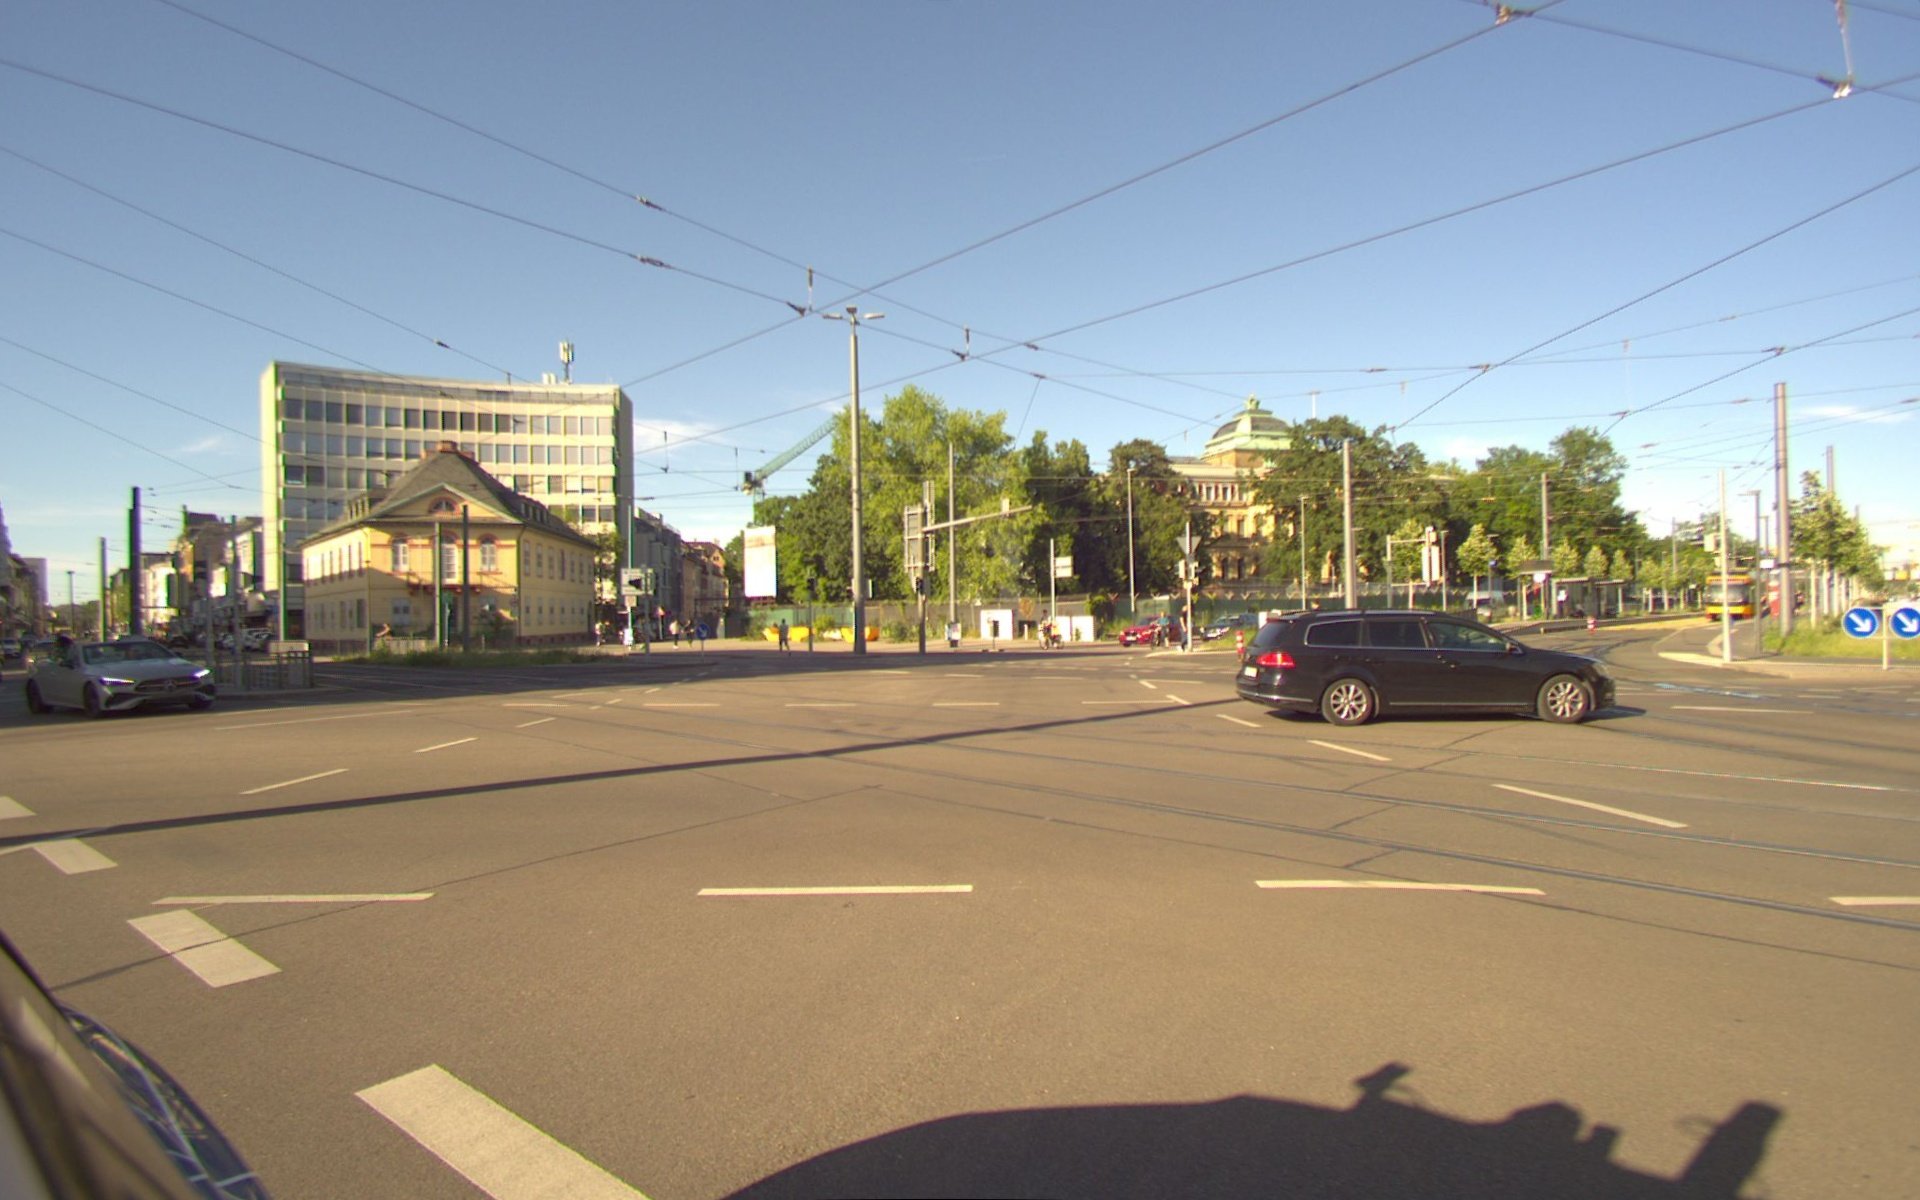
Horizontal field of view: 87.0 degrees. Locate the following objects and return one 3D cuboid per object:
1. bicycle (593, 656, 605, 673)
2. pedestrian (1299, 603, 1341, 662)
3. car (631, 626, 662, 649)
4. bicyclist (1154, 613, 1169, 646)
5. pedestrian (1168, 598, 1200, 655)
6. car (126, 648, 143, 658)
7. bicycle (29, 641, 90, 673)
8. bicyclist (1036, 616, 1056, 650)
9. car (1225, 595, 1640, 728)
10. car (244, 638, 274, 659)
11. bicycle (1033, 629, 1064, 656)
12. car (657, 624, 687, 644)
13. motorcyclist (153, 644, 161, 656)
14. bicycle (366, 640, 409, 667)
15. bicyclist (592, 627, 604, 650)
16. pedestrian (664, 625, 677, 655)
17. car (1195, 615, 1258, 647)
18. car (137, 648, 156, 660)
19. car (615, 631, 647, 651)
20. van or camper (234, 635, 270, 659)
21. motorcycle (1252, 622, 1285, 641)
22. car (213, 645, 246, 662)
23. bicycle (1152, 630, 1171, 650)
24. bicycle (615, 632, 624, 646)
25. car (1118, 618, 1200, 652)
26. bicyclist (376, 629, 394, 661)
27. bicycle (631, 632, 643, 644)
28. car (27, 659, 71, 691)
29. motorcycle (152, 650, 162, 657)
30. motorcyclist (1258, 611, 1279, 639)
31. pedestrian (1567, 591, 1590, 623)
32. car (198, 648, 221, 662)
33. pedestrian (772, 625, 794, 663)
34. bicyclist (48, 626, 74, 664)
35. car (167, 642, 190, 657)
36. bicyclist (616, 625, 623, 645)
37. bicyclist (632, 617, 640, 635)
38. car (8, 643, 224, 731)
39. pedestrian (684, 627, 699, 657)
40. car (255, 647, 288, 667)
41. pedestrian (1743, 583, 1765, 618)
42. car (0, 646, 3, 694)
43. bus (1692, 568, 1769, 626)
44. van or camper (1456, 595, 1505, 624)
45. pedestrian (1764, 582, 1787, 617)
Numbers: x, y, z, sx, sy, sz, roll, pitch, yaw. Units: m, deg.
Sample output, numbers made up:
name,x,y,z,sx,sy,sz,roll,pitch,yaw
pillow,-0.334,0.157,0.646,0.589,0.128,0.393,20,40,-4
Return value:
name,x,y,z,sx,sy,sz,roll,pitch,yaw
bicycle,-24.151,4.282,67.631,0.640,1.021,1.891,-2,0,-23
pedestrian,10.848,0.974,30.503,0.930,1.723,0.687,-2,-1,44
car,-25.656,3.071,82.965,1.864,1.683,3.871,-2,0,-8
bicyclist,8.221,1.198,41.290,0.399,1.325,0.454,-2,-1,34
pedestrian,7.871,0.931,35.529,0.713,1.948,0.801,-2,-1,-19
car,-125.840,8.081,154.279,1.755,1.521,3.865,1,-3,-42
bicycle,-37.117,2.347,41.724,0.641,1.221,1.802,-2,-1,39
bicyclist,3.923,1.501,46.042,0.610,1.504,0.607,-2,-1,44
car,5.941,0.767,13.178,4.469,1.455,1.768,-2,-1,4
car,-59.117,4.078,85.283,1.754,1.632,4.183,-3,1,-39
bicycle,4.052,1.944,46.150,0.612,1.142,1.479,-2,-1,43
car,-26.475,3.144,93.256,1.776,1.683,3.757,-2,0,-2
motorcyclist,-108.476,6.693,136.718,0.883,1.570,0.646,-2,-1,40
bicycle,-30.962,2.885,54.736,1.993,1.301,0.577,-2,-1,-35
bicyclist,-24.203,2.582,67.670,0.654,1.465,0.733,-2,-1,-22
pedestrian,-18.138,2.516,63.378,0.586,1.831,0.707,-1,-1,-29
car,13.756,1.594,52.207,1.575,1.483,3.659,-2,-1,43
car,-113.056,7.523,140.654,1.756,1.521,4.674,1,-3,-43
car,-25.188,3.107,77.579,1.625,1.357,3.764,-2,0,-6
van or camper,-62.789,4.145,89.701,1.931,1.988,4.803,-3,1,-42
motorcycle,17.281,1.757,56.612,0.791,0.992,2.332,-2,-1,43
car,-71.646,5.256,99.256,4.296,1.463,1.904,-2,1,45
bicycle,8.230,1.635,41.264,0.319,0.769,1.162,-2,0,34
bicycle,-29.187,3.334,86.760,0.522,1.223,1.891,-2,0,-23
car,9.317,1.608,47.146,1.781,1.521,4.503,-3,-2,40
bicyclist,-31.077,2.421,54.667,0.793,1.661,0.592,0,0,-34
bicycle,-29.662,3.447,92.921,0.524,1.021,1.886,-2,0,-2
car,-52.889,4.301,58.788,1.756,1.676,3.967,1,-2,-41
motorcycle,-108.504,7.216,136.788,2.154,0.933,0.593,-2,-1,40
motorcyclist,17.278,1.403,56.632,0.782,1.535,0.910,-2,-1,44
pedestrian,40.348,0.462,66.036,0.908,2.025,0.899,-1,-1,-31
car,-87.015,6.390,117.309,1.760,1.427,3.601,-1,-1,-43
pedestrian,-8.172,2.042,46.761,0.705,1.701,0.618,-5,-2,38
bicyclist,-37.100,1.863,41.763,0.634,1.535,0.674,-2,-1,40
car,-86.394,5.453,111.849,1.664,1.572,4.128,-1,-1,-42
bicyclist,-29.226,2.960,86.828,0.513,1.686,0.773,-1,-1,-23
bicyclist,-29.693,2.372,92.801,0.515,1.686,0.770,-2,-1,-2
car,-16.514,1.617,19.741,4.758,1.450,1.850,-2,-1,32
pedestrian,-16.980,2.661,63.970,0.695,1.865,0.742,-1,-1,-29
car,-55.170,4.535,81.071,1.755,1.450,3.967,-3,1,-41
pedestrian,47.396,0.041,60.442,0.922,2.025,0.999,-2,-1,35
car,-36.059,2.523,36.677,3.961,1.676,1.714,-2,-2,43
bus,51.478,-0.236,67.484,2.952,3.590,9.293,-2,-1,44
van or camper,37.667,0.668,73.209,1.980,2.016,4.295,-2,-1,43
pedestrian,48.249,-0.021,59.872,0.922,2.025,0.999,-2,-1,35
